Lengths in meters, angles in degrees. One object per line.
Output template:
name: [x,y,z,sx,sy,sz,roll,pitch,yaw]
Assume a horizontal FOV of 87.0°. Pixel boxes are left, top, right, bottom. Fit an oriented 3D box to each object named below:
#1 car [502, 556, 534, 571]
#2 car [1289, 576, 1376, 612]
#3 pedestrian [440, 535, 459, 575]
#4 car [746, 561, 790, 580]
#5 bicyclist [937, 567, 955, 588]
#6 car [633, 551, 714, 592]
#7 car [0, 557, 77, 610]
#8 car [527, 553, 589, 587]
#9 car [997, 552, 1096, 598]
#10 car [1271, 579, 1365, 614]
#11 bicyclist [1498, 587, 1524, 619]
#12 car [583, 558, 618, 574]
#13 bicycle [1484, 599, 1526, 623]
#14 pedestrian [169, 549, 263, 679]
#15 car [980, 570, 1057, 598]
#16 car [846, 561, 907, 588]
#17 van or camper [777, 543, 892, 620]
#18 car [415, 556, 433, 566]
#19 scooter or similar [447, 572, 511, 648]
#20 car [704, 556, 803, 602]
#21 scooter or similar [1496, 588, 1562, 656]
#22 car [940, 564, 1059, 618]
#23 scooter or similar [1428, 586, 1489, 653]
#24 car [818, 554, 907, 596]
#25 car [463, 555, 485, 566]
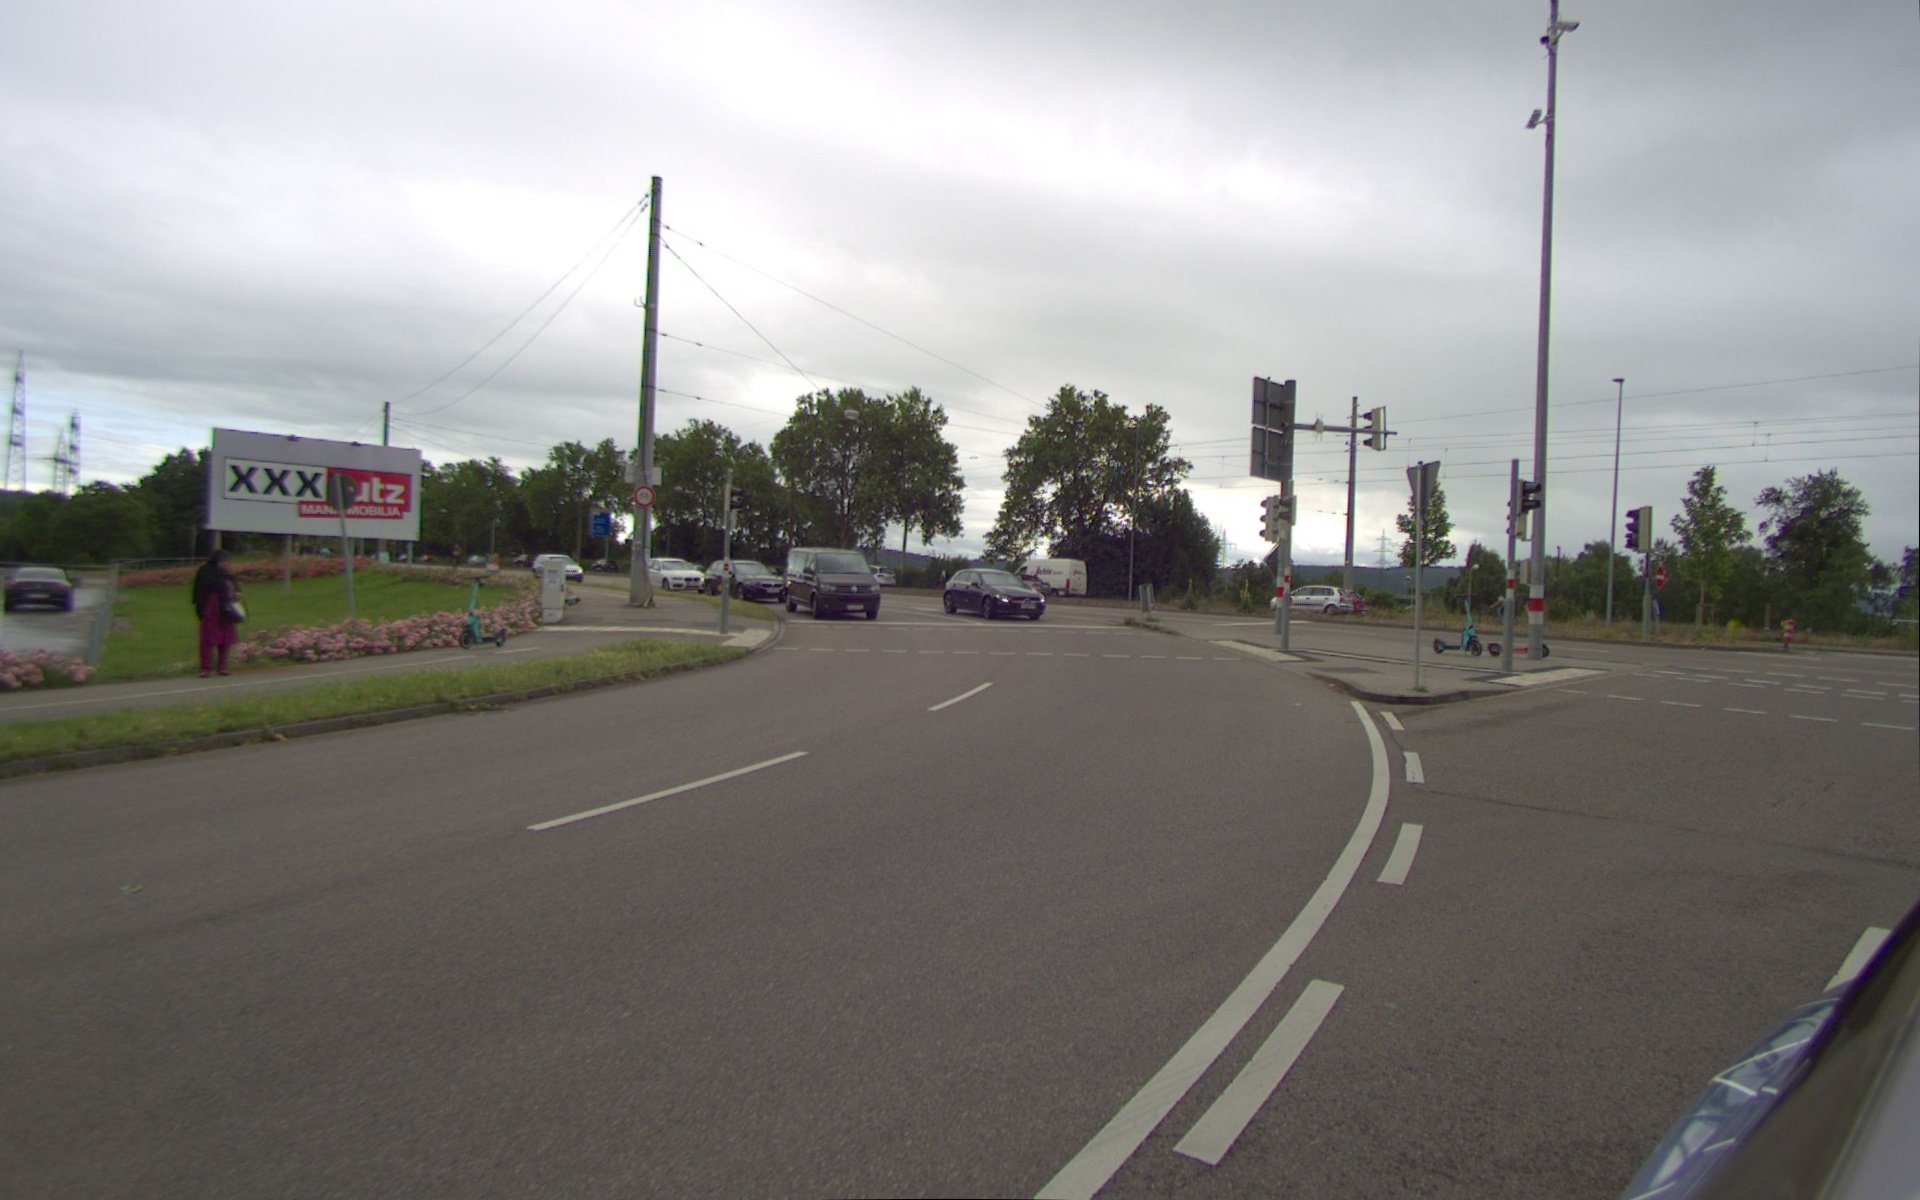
car: [-52.437,-4.303,120.081,4.300,1.657,1.810,3,0,41]
car: [18.520,-0.308,50.381,3.751,1.581,1.633,3,0,37]
pedestrian: [-23.671,-2.074,46.922,0.537,1.804,0.633,4,-2,-43]
car: [-16.559,-2.563,86.996,1.710,1.498,4.312,3,-1,-41]
bicyclist: [-1.059,-1.671,75.444,0.805,1.497,0.998,1,3,-43]
car: [-12.017,-1.220,42.296,1.702,1.558,4.042,3,0,-40]
car: [-32.461,-0.599,35.608,1.880,1.778,3.997,0,1,-39]
car: [-21.335,-1.585,53.636,1.717,1.622,4.068,4,-1,-42]
car: [5.457,-1.599,64.289,5.884,2.659,2.621,3,0,45]
car: [16.863,-0.190,47.725,3.833,1.436,1.658,3,0,40]
bicyclist: [26.731,0.129,49.093,0.963,1.470,0.683,4,4,39]
car: [-39.867,-3.822,112.288,4.303,1.581,1.833,3,-2,43]
bicycle: [26.566,0.529,49.307,1.701,1.058,0.541,4,4,39]
pedestrian: [-9.602,0.151,13.073,0.777,1.616,0.709,1,3,31]
car: [3.460,-0.938,59.881,4.330,1.408,1.847,4,0,43]
car: [-5.641,-1.723,68.000,1.829,1.571,4.193,3,0,-43]
van or camper: [-3.786,-0.636,29.737,2.080,2.038,4.764,-1,3,-24]
car: [-87.127,-6.281,164.495,1.723,1.449,3.368,4,0,-44]
scooter or similar: [-8.197,0.157,17.279,0.341,1.248,1.161,0,1,12]
car: [-7.454,-0.795,36.292,1.931,1.482,4.324,1,2,-34]
scooter or similar: [11.152,0.411,19.844,0.455,1.271,1.020,0,2,-26]
car: [1.128,-0.320,31.076,1.800,1.482,4.215,1,2,-27]
scooter or similar: [10.064,0.375,20.454,0.314,1.271,1.118,-1,3,-26]
car: [-4.380,-1.105,45.053,1.965,1.749,3.994,0,1,-41]
car: [-69.816,-5.671,145.330,1.790,1.499,3.663,4,-1,-44]
